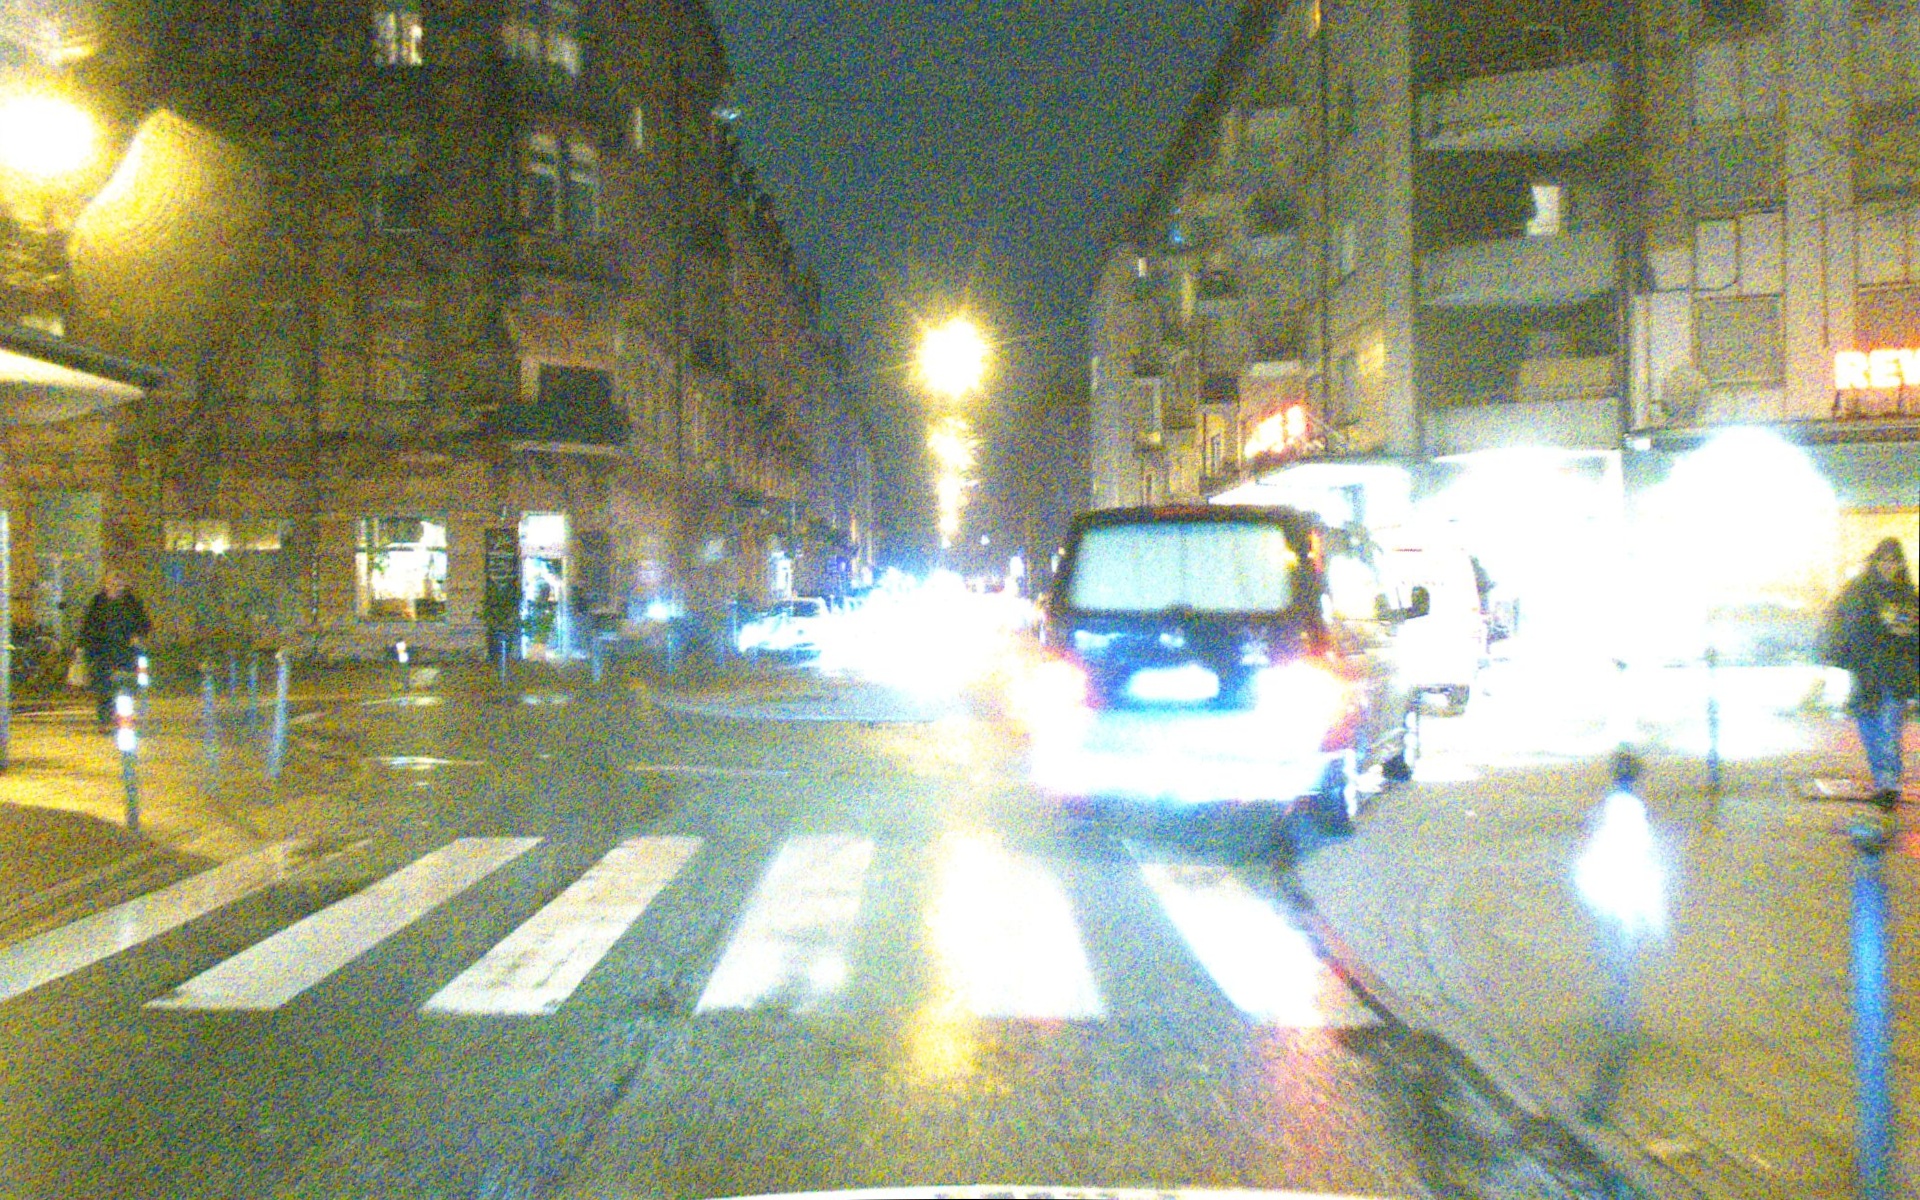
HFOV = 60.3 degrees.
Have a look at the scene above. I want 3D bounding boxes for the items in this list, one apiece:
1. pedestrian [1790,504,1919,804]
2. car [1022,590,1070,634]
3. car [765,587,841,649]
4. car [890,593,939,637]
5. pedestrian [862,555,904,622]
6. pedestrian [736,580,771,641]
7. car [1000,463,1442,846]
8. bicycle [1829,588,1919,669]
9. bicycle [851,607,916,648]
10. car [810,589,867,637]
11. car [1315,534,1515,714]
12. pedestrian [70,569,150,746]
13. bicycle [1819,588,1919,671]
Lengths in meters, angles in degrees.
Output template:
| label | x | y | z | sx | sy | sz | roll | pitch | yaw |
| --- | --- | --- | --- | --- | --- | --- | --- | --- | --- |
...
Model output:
| label | x | y | z | sx | sy | sz | roll | pitch | yaw |
| --- | --- | --- | --- | --- | --- | --- | --- | --- | --- |
| pedestrian | 5.676 | 0.322 | 10.247 | 0.808 | 1.802 | 0.600 | 1 | 0 | 12 |
| car | 3.162 | 0.466 | 61.172 | 1.559 | 1.570 | 3.419 | 1 | -1 | 0 |
| car | -4.091 | 0.440 | 43.566 | 1.554 | 1.489 | 4.024 | 3 | 0 | 0 |
| car | -1.586 | 0.493 | 58.692 | 1.531 | 1.452 | 4.070 | -2 | 0 | 1 |
| pedestrian | -2.142 | -0.327 | 45.938 | 1.099 | 1.843 | 0.715 | -1 | 0 | 0 |
| pedestrian | -6.175 | 0.317 | 49.445 | 0.787 | 1.797 | 1.016 | 1 | -1 | 5 |
| car | 2.013 | 0.282 | 11.264 | 2.079 | 2.026 | 4.601 | 0 | 0 | 21 |
| bicycle | 14.098 | 0.432 | 25.088 | 1.610 | 1.194 | 0.383 | 1 | -2 | 28 |
| bicycle | -2.114 | 0.763 | 45.941 | 1.759 | 1.078 | 0.715 | -1 | 0 | 0 |
| car | -3.847 | 0.389 | 52.765 | 1.554 | 1.474 | 3.503 | 0 | 0 | 0 |
| car | 5.501 | 0.236 | 20.568 | 2.077 | 1.956 | 4.830 | 0 | 0 | 12 |
| pedestrian | -9.591 | 0.629 | 18.653 | 0.649 | 1.942 | 0.619 | -1 | 1 | -42 |
| bicycle | 13.563 | 0.423 | 24.207 | 1.747 | 1.194 | 0.384 | 0 | 0 | 28 |
